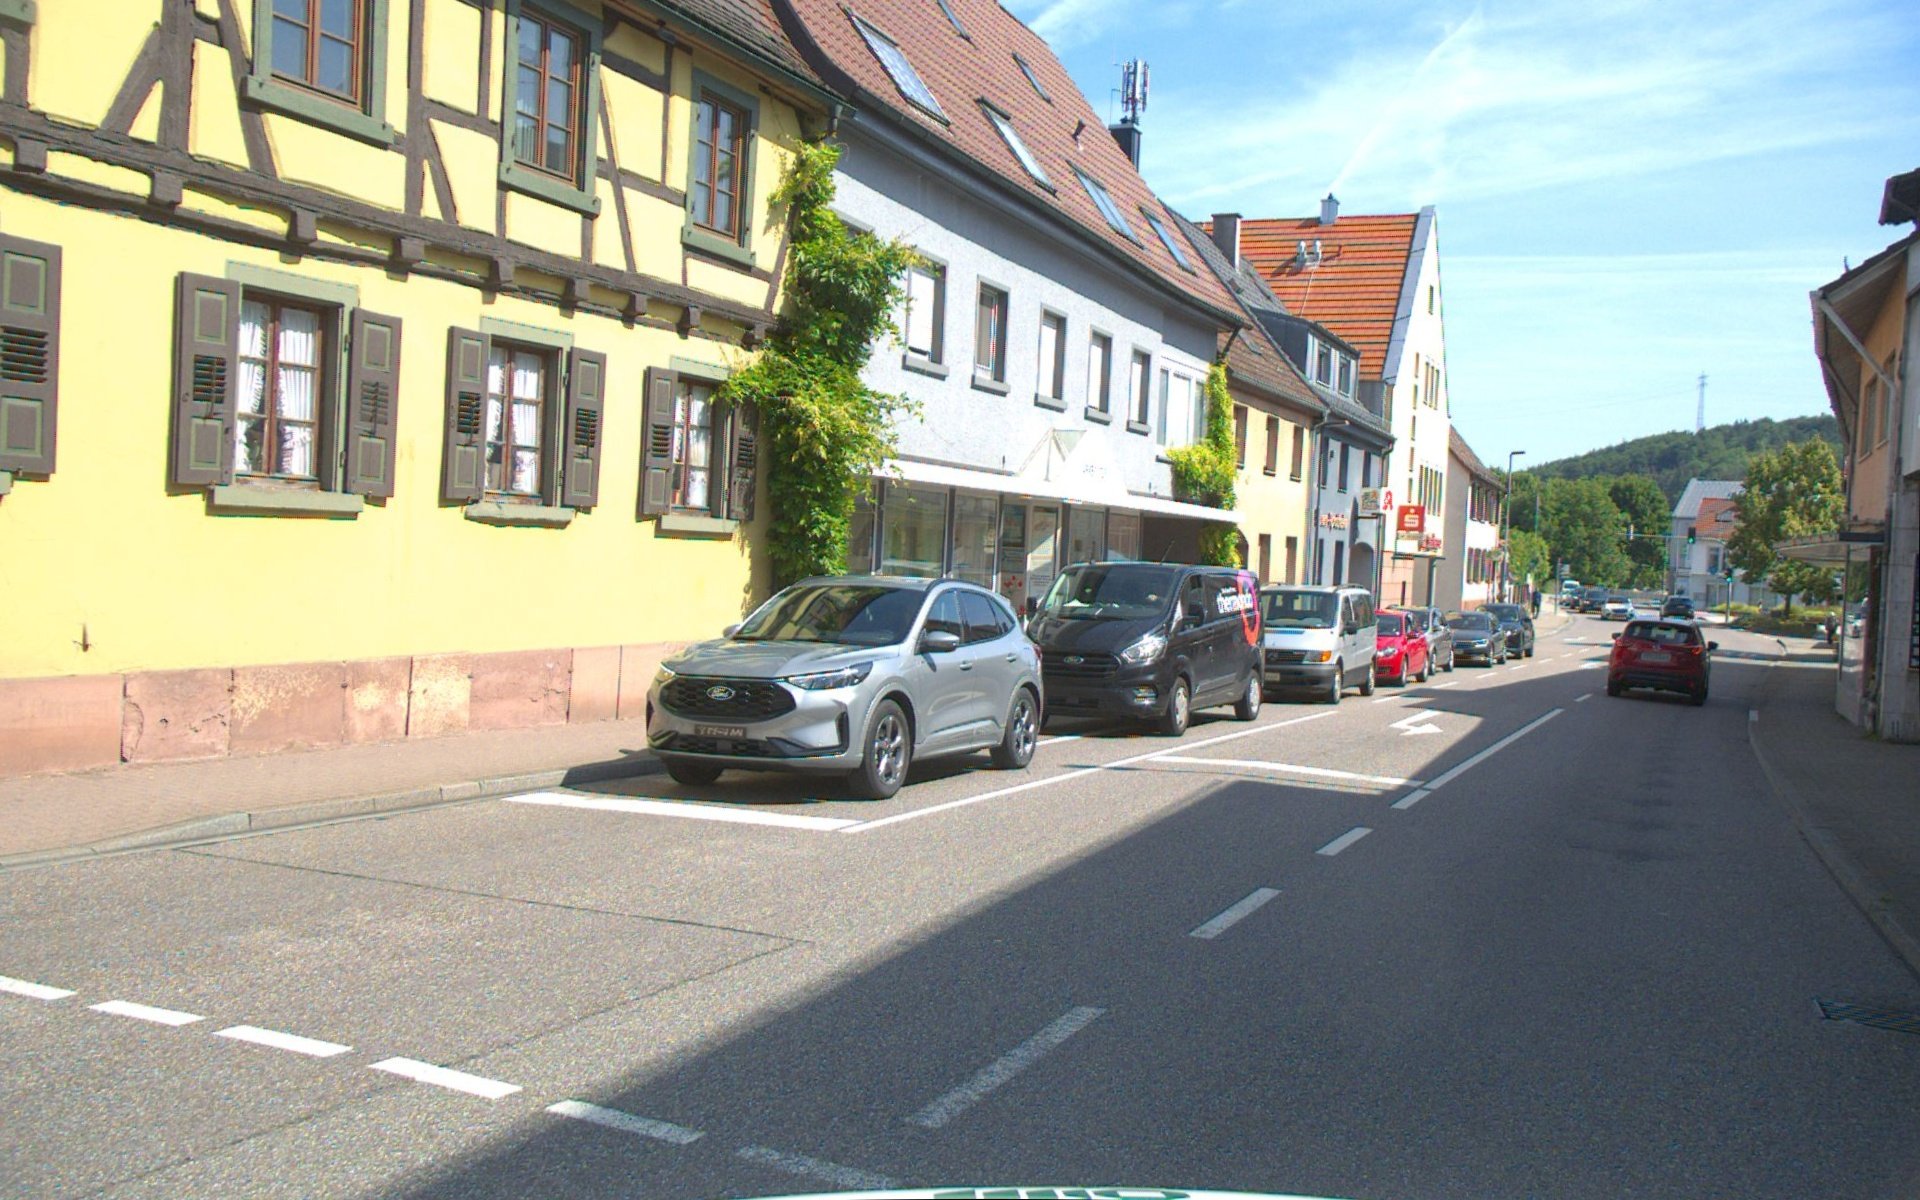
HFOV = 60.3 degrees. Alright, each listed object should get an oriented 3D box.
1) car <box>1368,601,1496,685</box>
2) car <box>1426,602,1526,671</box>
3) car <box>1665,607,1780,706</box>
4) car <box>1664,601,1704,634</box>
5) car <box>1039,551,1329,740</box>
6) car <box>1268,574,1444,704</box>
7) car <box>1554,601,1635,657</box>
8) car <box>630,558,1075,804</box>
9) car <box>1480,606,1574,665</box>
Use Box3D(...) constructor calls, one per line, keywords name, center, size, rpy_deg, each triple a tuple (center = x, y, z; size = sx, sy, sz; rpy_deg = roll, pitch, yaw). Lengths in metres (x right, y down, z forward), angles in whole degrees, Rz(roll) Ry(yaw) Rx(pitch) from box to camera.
Box3D(name="car", center=(9.548, 0.829, 33.252), size=(1.724, 1.518, 4.072), rpy_deg=(2, 0, 26))
Box3D(name="car", center=(12.562, 0.860, 40.132), size=(1.598, 1.547, 4.014), rpy_deg=(2, 0, 28))
Box3D(name="car", center=(15.633, 1.095, 33.796), size=(1.824, 1.744, 4.416), rpy_deg=(5, 2, 27))
Box3D(name="car", center=(45.313, 1.094, 103.486), size=(1.896, 1.825, 3.949), rpy_deg=(3, -1, 29))
Box3D(name="car", center=(2.921, 0.490, 20.323), size=(2.116, 1.956, 5.162), rpy_deg=(2, 0, 24))
Box3D(name="car", center=(6.624, 0.600, 27.301), size=(1.847, 1.923, 4.547), rpy_deg=(2, 0, 26))
Box3D(name="car", center=(19.979, 0.891, 51.955), size=(1.832, 1.617, 4.512), rpy_deg=(2, 0, 28))
Box3D(name="car", center=(-0.647, 0.550, 13.430), size=(1.720, 1.638, 4.426), rpy_deg=(1, 0, 24))
Box3D(name="car", center=(15.545, 0.943, 45.195), size=(1.754, 1.476, 4.418), rpy_deg=(2, 0, 28))
